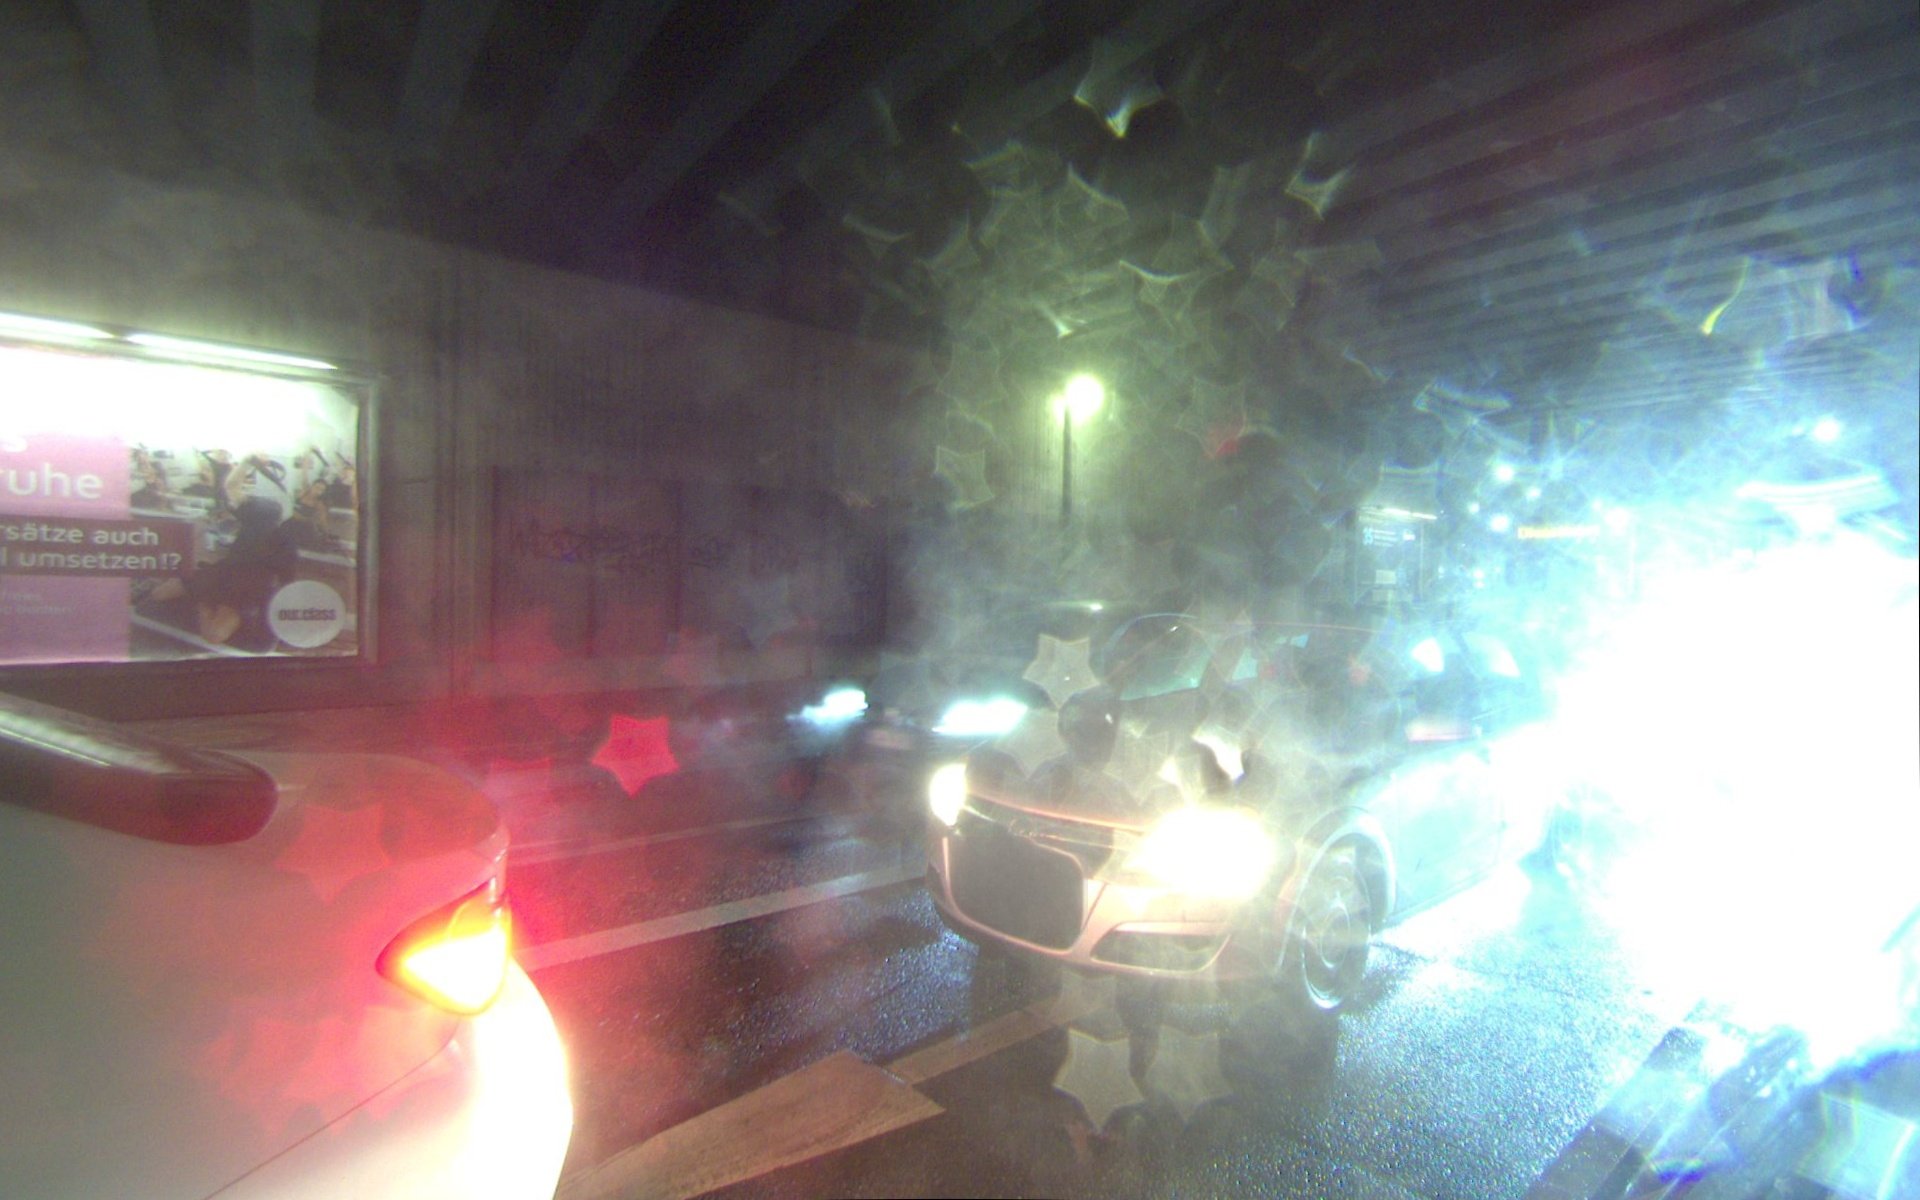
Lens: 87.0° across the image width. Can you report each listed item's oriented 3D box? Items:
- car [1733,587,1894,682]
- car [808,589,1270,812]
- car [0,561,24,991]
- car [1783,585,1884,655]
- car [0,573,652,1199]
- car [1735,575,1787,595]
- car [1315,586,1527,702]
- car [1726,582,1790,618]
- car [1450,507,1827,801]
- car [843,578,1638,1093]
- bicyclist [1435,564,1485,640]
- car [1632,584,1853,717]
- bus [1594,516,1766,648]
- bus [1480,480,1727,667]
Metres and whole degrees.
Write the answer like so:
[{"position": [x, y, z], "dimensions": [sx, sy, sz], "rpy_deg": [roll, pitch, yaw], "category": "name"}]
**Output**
[{"position": [15.388, 0.531, 18.183], "dimensions": [3.930, 1.522, 1.628], "rpy_deg": [-1, 0, -41], "category": "car"}, {"position": [0.957, 0.644, 8.711], "dimensions": [1.749, 1.408, 4.502], "rpy_deg": [0, 0, 39], "category": "car"}, {"position": [-5.153, 0.621, 2.925], "dimensions": [3.532, 1.477, 1.636], "rpy_deg": [-1, 0, -42], "category": "car"}, {"position": [20.452, 0.401, 23.643], "dimensions": [1.678, 1.490, 3.938], "rpy_deg": [0, 0, 43], "category": "car"}, {"position": [-2.691, 0.691, 0.975], "dimensions": [4.273, 1.422, 1.719], "rpy_deg": [-1, 0, -41], "category": "car"}, {"position": [63.882, -1.180, 80.769], "dimensions": [1.974, 1.538, 3.976], "rpy_deg": [0, 0, 19], "category": "car"}, {"position": [6.878, 0.552, 14.931], "dimensions": [1.750, 1.449, 3.701], "rpy_deg": [2, 1, 43], "category": "car"}, {"position": [36.832, -0.020, 46.770], "dimensions": [1.729, 1.610, 3.958], "rpy_deg": [0, 0, 30], "category": "car"}, {"position": [6.485, 0.364, 9.472], "dimensions": [4.274, 2.115, 1.996], "rpy_deg": [-1, 0, -43], "category": "car"}, {"position": [1.582, 0.627, 4.819], "dimensions": [3.931, 1.384, 1.791], "rpy_deg": [-2, 2, -41], "category": "car"}, {"position": [12.031, 0.036, 24.359], "dimensions": [0.885, 1.784, 0.798], "rpy_deg": [0, 0, -41], "category": "bicyclist"}, {"position": [10.576, 0.557, 13.594], "dimensions": [3.705, 1.531, 1.865], "rpy_deg": [-1, 0, -44], "category": "car"}, {"position": [20.581, -0.433, 28.627], "dimensions": [2.768, 3.163, 9.610], "rpy_deg": [0, 0, 43], "category": "bus"}, {"position": [14.038, -0.444, 21.597], "dimensions": [2.768, 3.163, 9.610], "rpy_deg": [0, 0, 43], "category": "bus"}]
